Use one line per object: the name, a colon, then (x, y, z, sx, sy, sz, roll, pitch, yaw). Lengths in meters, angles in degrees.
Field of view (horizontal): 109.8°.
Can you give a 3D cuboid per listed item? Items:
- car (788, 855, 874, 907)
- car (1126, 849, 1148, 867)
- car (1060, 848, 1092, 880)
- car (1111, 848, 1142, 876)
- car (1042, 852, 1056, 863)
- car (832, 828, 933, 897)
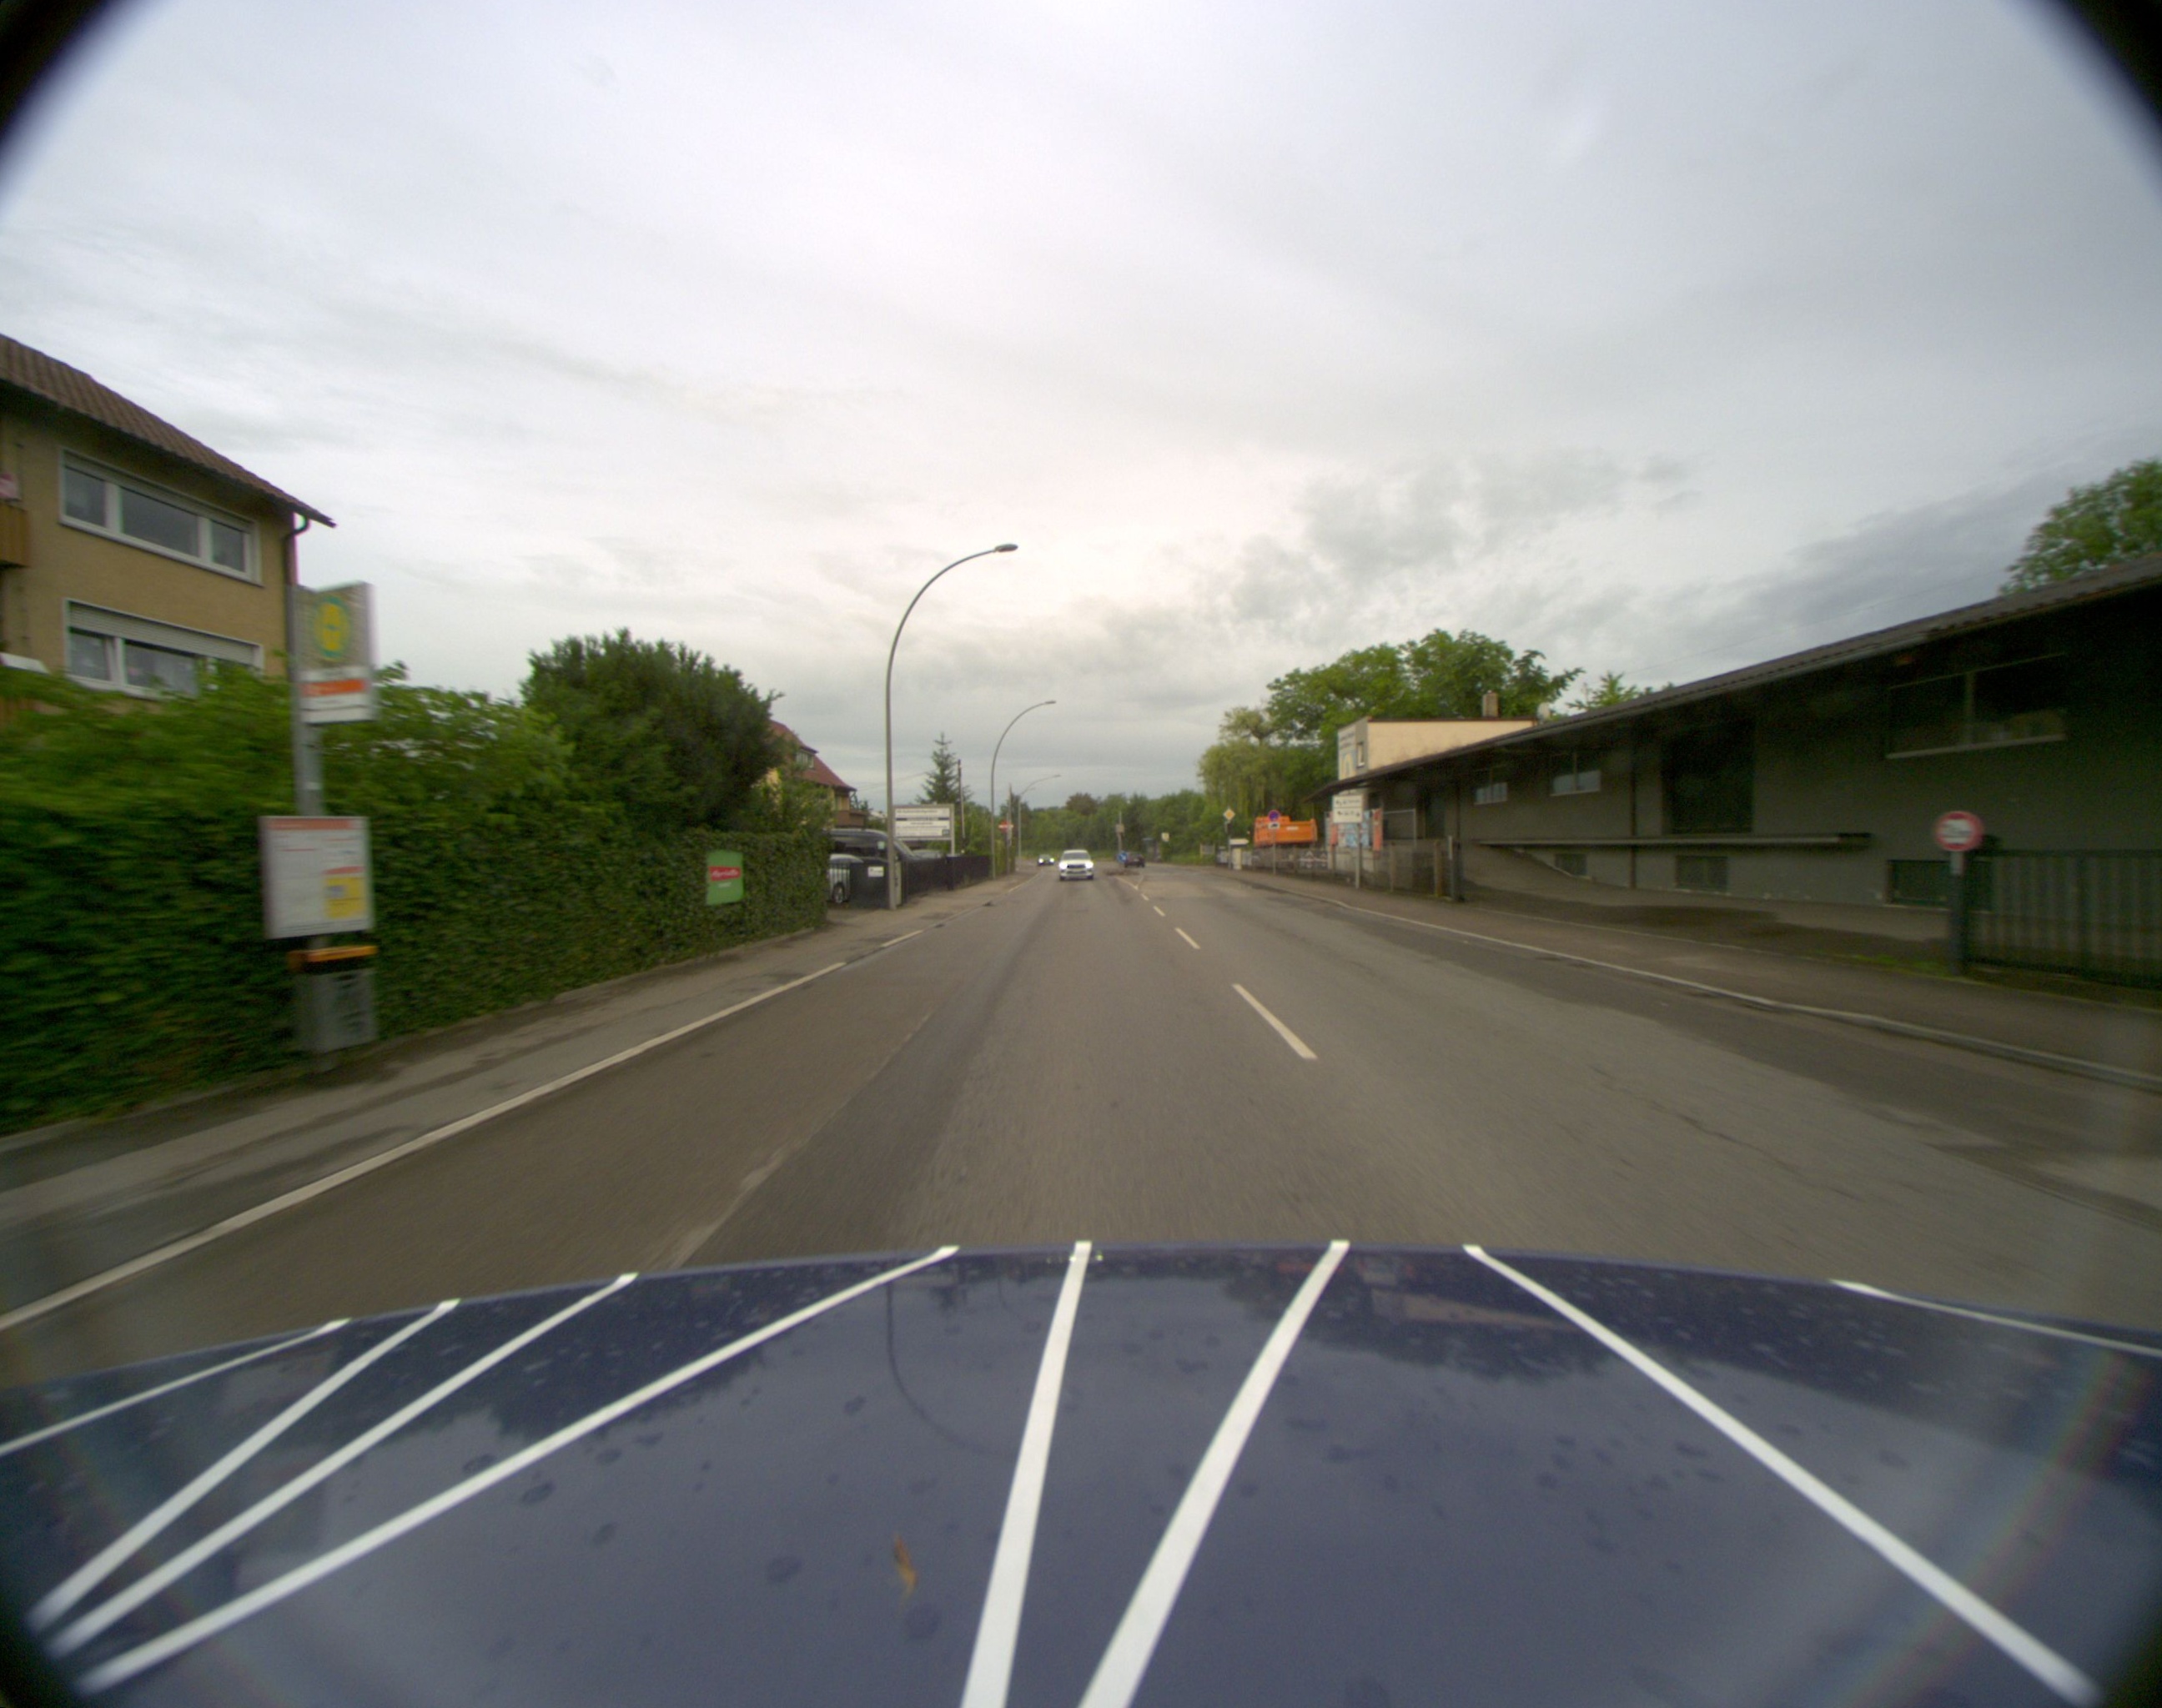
car: (-7.497, 0.770, 23.042, 1.412, 1.363, 3.330, -2, 1, 1)
car: (5.203, 0.345, 70.566, 1.700, 1.548, 3.717, -2, 1, 0)
car: (-0.273, 0.500, 43.052, 1.692, 1.651, 3.999, -2, 1, 0)
car: (2.891, 0.467, 48.990, 1.897, 1.678, 4.231, 0, 1, 2)
car: (-4.044, 0.451, 96.133, 1.564, 1.332, 3.129, -2, 1, 0)
car: (-7.965, 0.322, 30.767, 3.456, 2.597, 1.949, -2, 1, 0)
